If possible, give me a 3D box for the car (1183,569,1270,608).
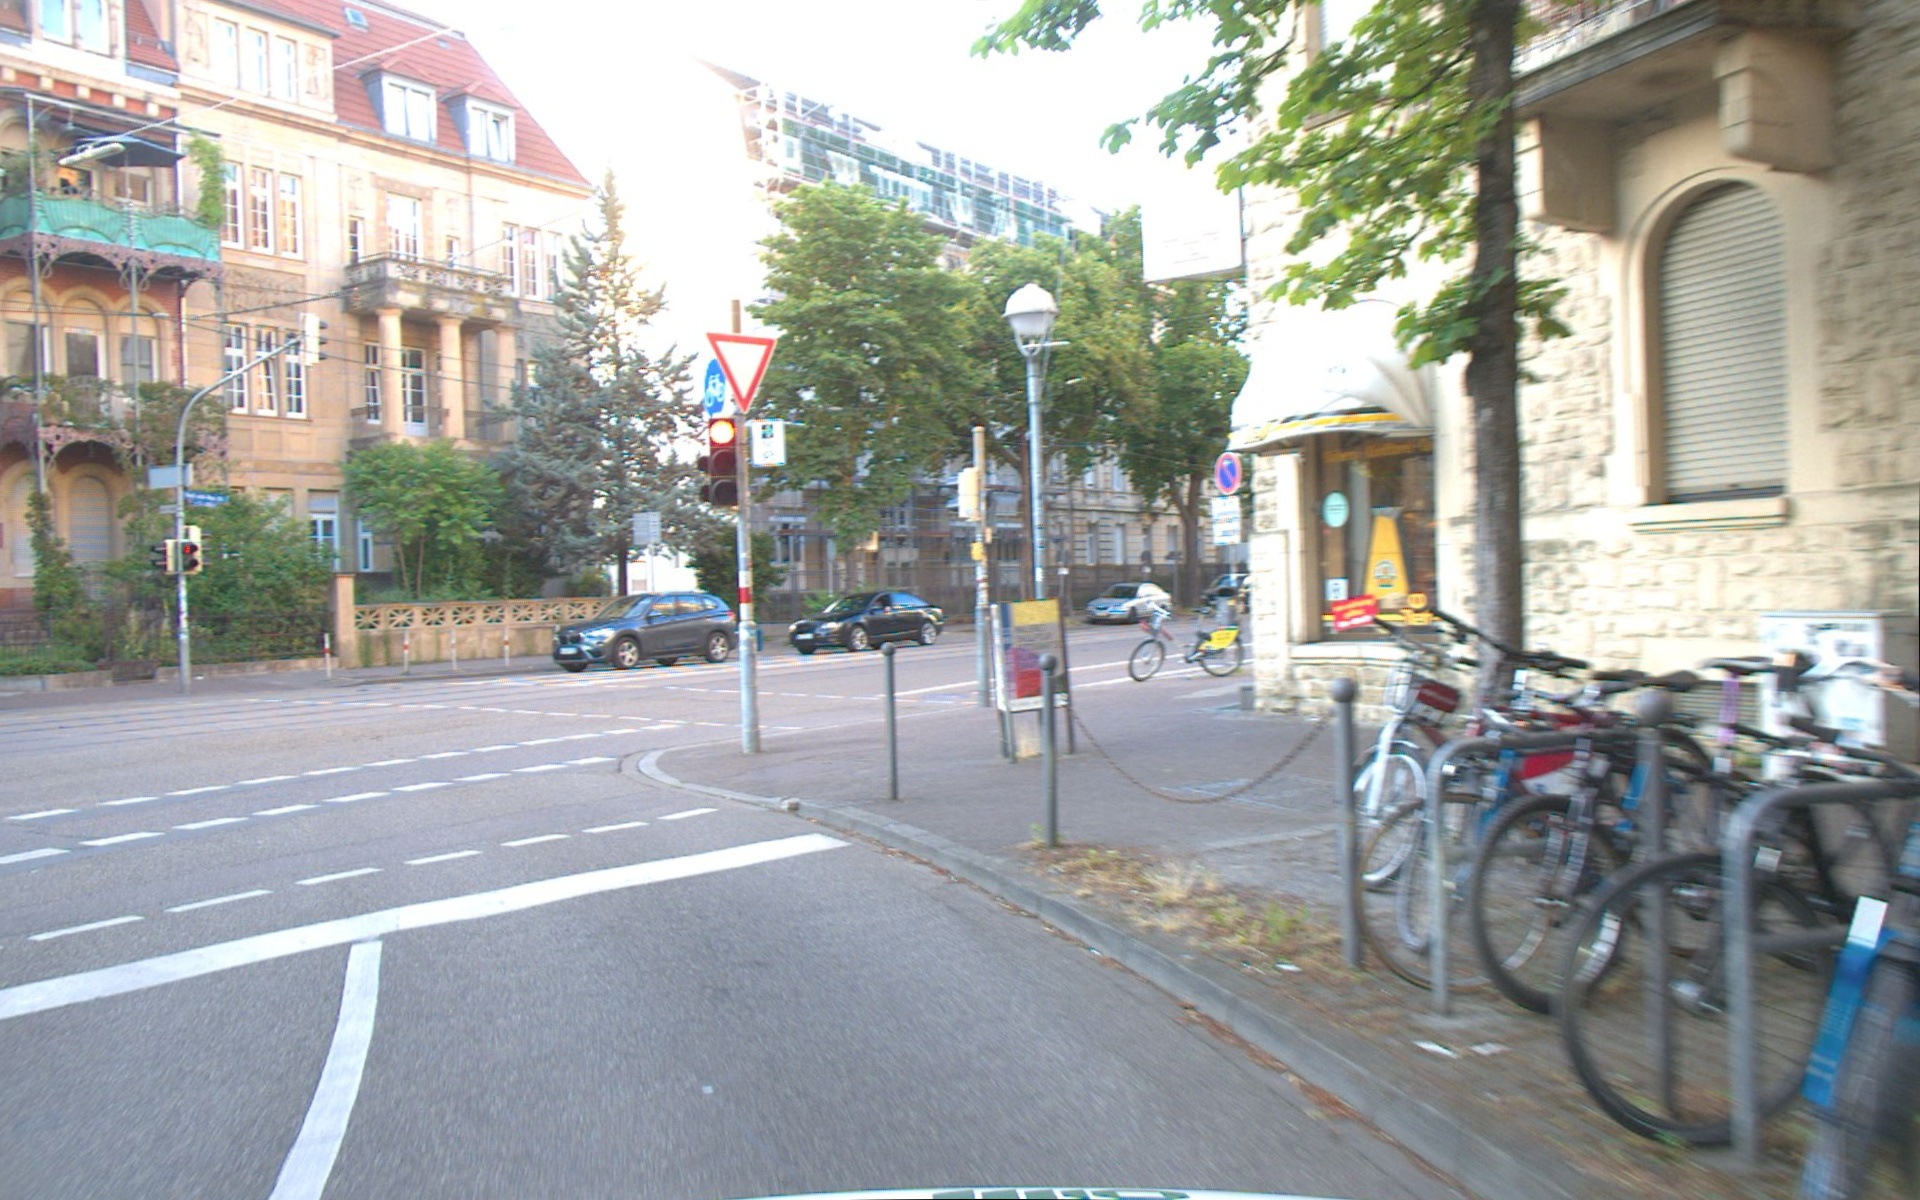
[{"bbox_3d":[11.228,-0.493,69.489,1.911,1.508,4.153,-2,1,36],"label":"car"}]

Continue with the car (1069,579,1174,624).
[{"bbox_3d":[5.970,0.031,60.653,1.968,1.451,4.621,-2,1,32],"label":"car"}]

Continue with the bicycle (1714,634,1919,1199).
[{"bbox_3d":[2.663,0.654,3.510,1.849,1.183,0.639,-2,0,-7],"label":"bicycle"}]

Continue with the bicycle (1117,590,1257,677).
[{"bbox_3d":[3.205,0.462,23.468,1.835,1.150,0.731,-2,0,-3],"label":"bicycle"}]

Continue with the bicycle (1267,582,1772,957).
[{"bbox_3d":[2.162,0.594,6.417,1.759,1.258,0.696,-2,0,-18],"label":"bicycle"}]

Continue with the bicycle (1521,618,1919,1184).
[{"bbox_3d":[2.431,0.658,4.222,1.856,1.183,0.637,-2,0,-18],"label":"bicycle"}]

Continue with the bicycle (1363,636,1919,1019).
[{"bbox_3d":[2.332,0.696,5.569,1.773,1.056,0.696,-2,0,-18],"label":"bicycle"}]

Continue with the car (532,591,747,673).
[{"bbox_3d":[-6.800,0.660,35.537,1.911,1.536,4.403,-2,1,36],"label":"car"}]

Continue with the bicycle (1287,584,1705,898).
[{"bbox_3d":[2.448,0.591,7.561,1.760,1.258,0.647,-2,0,-19],"label":"bicycle"}]

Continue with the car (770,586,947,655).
[{"bbox_3d":[-2.476,0.488,41.411,1.911,1.536,4.615,-2,1,36],"label":"car"}]
